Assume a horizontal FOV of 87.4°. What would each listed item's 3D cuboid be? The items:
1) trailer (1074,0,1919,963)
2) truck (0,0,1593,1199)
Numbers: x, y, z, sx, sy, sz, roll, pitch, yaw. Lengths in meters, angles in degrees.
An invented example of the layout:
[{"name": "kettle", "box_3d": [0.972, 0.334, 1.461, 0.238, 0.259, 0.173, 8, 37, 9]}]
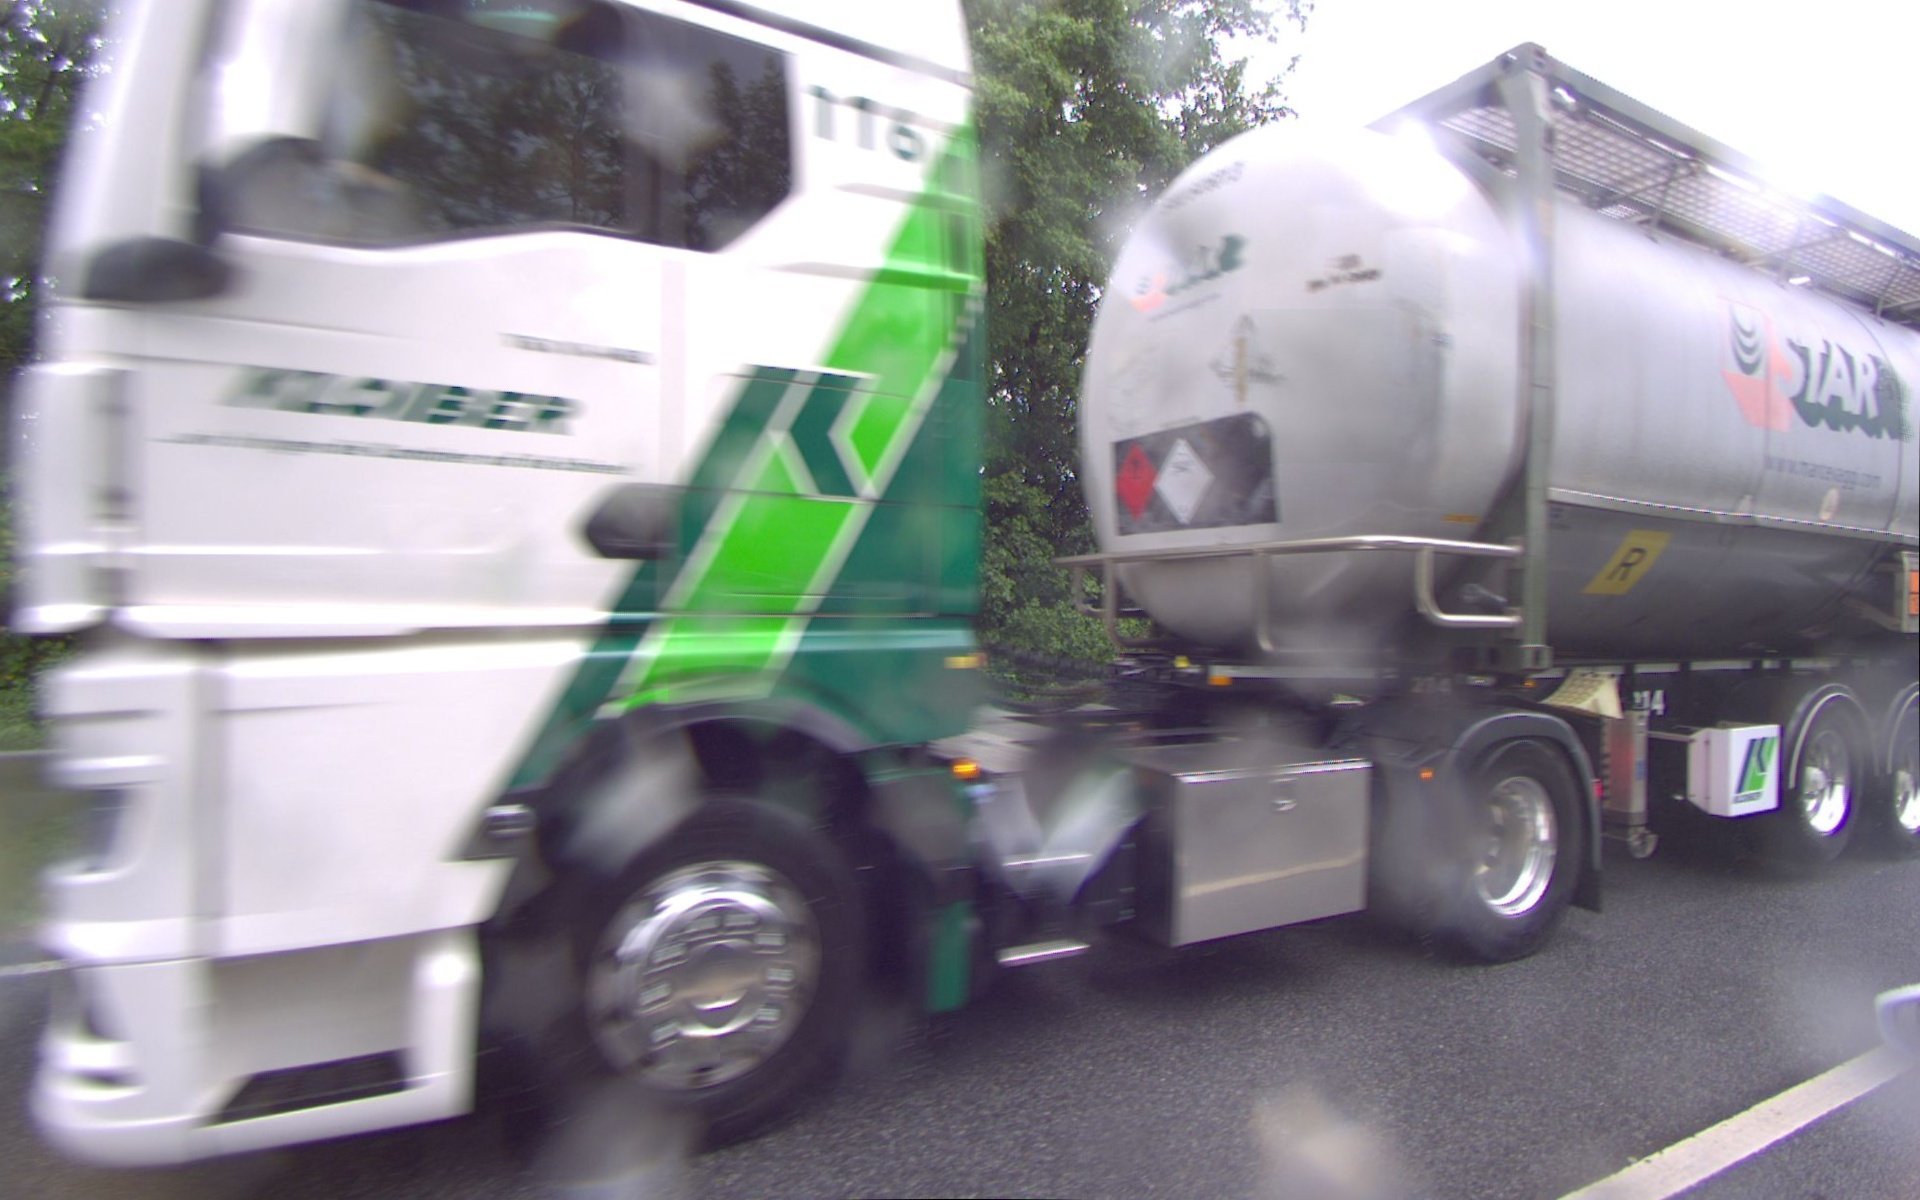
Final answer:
[{"name": "trailer", "box_3d": [4.708, -0.375, 7.012, 7.699, 3.876, 2.524, 2, 0, -30]}, {"name": "truck", "box_3d": [-0.116, -0.569, 4.200, 5.184, 3.876, 2.524, 2, 0, -31]}]
